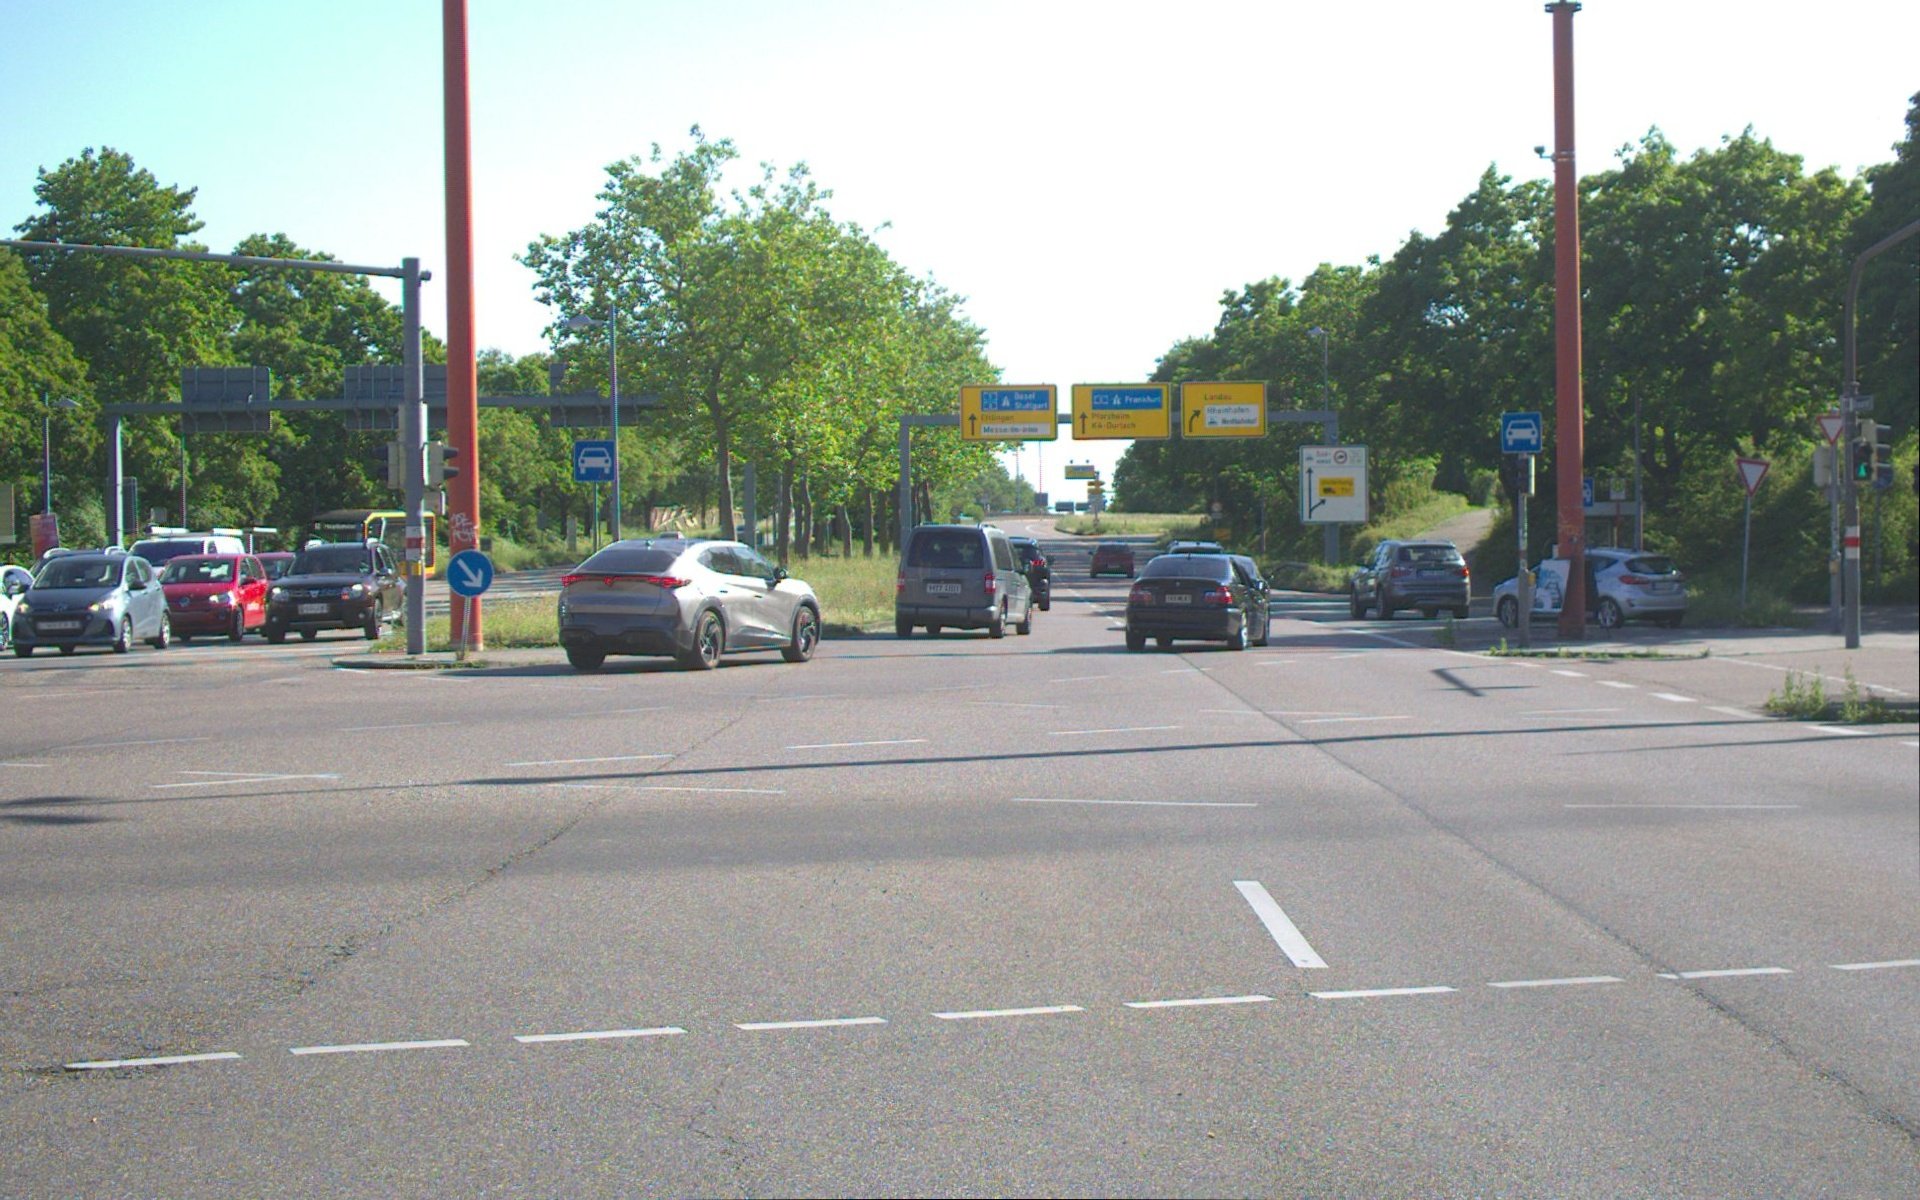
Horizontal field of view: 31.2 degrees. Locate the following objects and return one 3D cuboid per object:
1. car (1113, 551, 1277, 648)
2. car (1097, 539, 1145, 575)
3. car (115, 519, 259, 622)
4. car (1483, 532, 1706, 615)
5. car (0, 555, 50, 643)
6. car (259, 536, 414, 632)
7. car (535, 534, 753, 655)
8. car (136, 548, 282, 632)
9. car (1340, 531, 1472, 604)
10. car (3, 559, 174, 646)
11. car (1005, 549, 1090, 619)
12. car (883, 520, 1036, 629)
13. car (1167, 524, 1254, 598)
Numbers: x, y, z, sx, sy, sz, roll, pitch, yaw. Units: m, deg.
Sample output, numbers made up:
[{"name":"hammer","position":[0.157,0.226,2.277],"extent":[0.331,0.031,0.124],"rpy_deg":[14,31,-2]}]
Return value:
[{"name":"car","position":[3.521,-0.036,50.810],"extent":[1.761,1.345,4.360],"rpy_deg":[0,1,13]},{"name":"car","position":[6.594,-1.785,141.078],"extent":[1.680,1.430,4.065],"rpy_deg":[-1,1,-1]},{"name":"car","position":[-15.956,-0.604,71.171],"extent":[1.893,2.019,5.223],"rpy_deg":[1,0,-1]},{"name":"car","position":[11.613,-0.498,63.144],"extent":[1.679,1.462,3.994],"rpy_deg":[-1,1,-35]},{"name":"car","position":[-16.423,-0.021,57.051],"extent":[1.739,1.406,3.613],"rpy_deg":[-1,1,-1]},{"name":"car","position":[-10.121,-0.287,56.075],"extent":[1.819,1.503,4.000],"rpy_deg":[-1,1,-1]},{"name":"car","position":[-3.874,-0.108,42.903],"extent":[1.831,1.417,4.436],"rpy_deg":[-1,1,7]},{"name":"car","position":[-12.693,-0.193,58.275],"extent":[1.739,1.357,3.613],"rpy_deg":[-1,1,-1]},{"name":"car","position":[9.406,-0.700,72.833],"extent":[1.779,1.480,4.330],"rpy_deg":[-1,1,-7]},{"name":"car","position":[-13.115,0.012,51.905],"extent":[1.739,1.239,3.613],"rpy_deg":[-1,1,-1]},{"name":"car","position":[2.043,-0.383,79.332],"extent":[1.852,1.540,4.262],"rpy_deg":[0,1,3]},{"name":"car","position":[0.039,-0.440,56.464],"extent":[1.846,1.702,4.306],"rpy_deg":[0,1,9]},{"name":"car","position":[5.686,-0.902,78.527],"extent":[1.823,1.630,4.253],"rpy_deg":[0,1,2]}]
